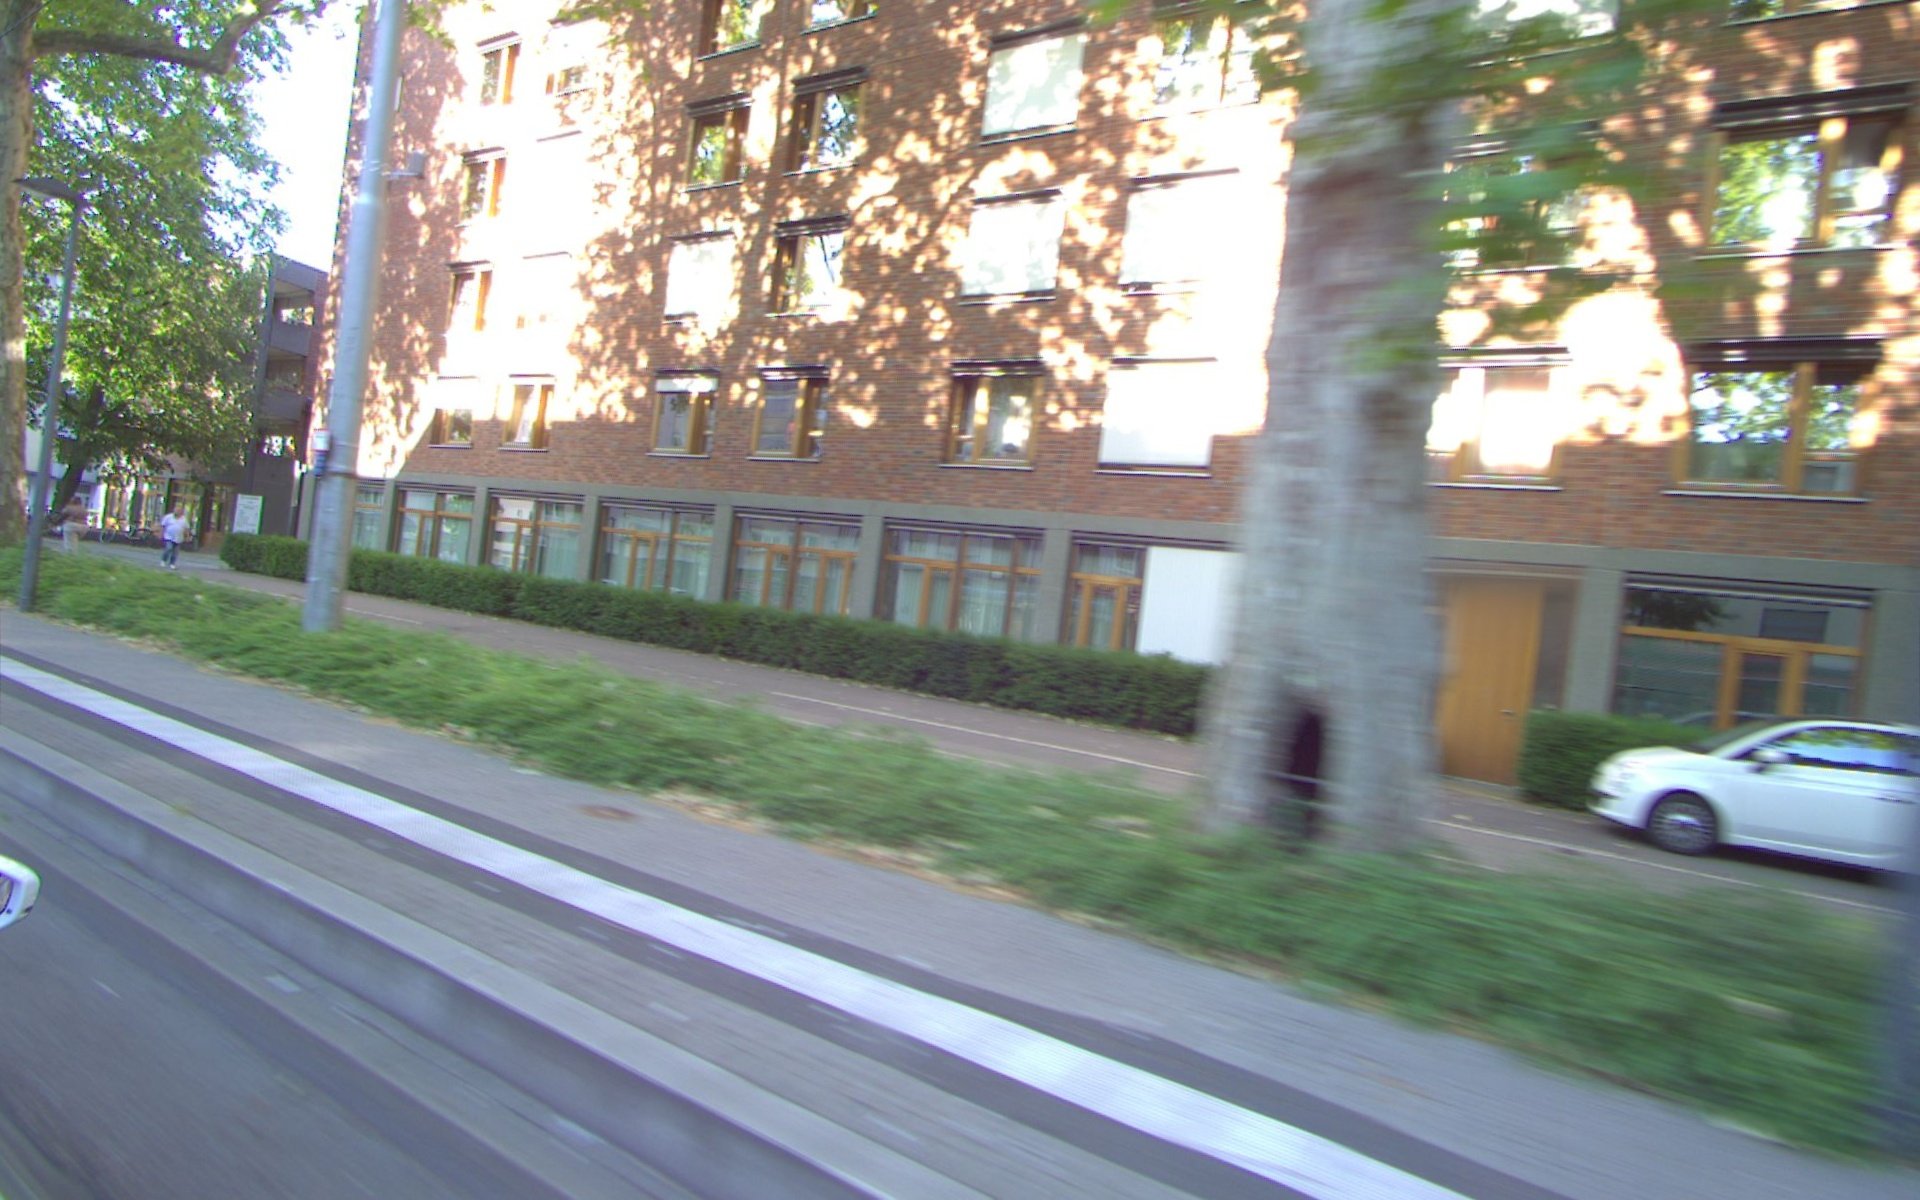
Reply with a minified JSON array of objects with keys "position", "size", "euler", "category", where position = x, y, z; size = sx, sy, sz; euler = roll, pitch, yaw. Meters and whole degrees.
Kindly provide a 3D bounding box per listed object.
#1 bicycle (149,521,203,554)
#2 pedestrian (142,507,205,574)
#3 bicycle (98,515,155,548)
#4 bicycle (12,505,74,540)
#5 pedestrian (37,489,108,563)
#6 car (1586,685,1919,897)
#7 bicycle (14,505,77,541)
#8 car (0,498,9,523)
[{"position":[-31.002,-2.476,39.808],"size":[1.557,1.050,0.474],"euler":[8,0,-36],"category":"bicycle"},{"position":[-21.444,-1.622,27.446],"size":[0.873,1.643,0.973],"euler":[7,0,31],"category":"pedestrian"},{"position":[-31.814,-2.614,38.425],"size":[1.558,1.050,0.474],"euler":[8,0,-38],"category":"bicycle"},{"position":[-33.668,-2.842,36.938],"size":[1.558,1.050,0.499],"euler":[8,0,-38],"category":"bicycle"},{"position":[-21.910,-1.827,24.847],"size":[0.873,1.643,0.973],"euler":[7,0,31],"category":"pedestrian"},{"position":[8.203,1.825,9.812],"size":[3.359,1.513,1.603],"euler":[7,0,30],"category":"car"},{"position":[-32.994,-2.771,36.321],"size":[1.558,1.050,0.474],"euler":[8,0,-38],"category":"bicycle"},{"position":[-55.076,-5.227,55.100],"size":[1.837,1.389,3.991],"euler":[7,-1,33],"category":"car"}]
